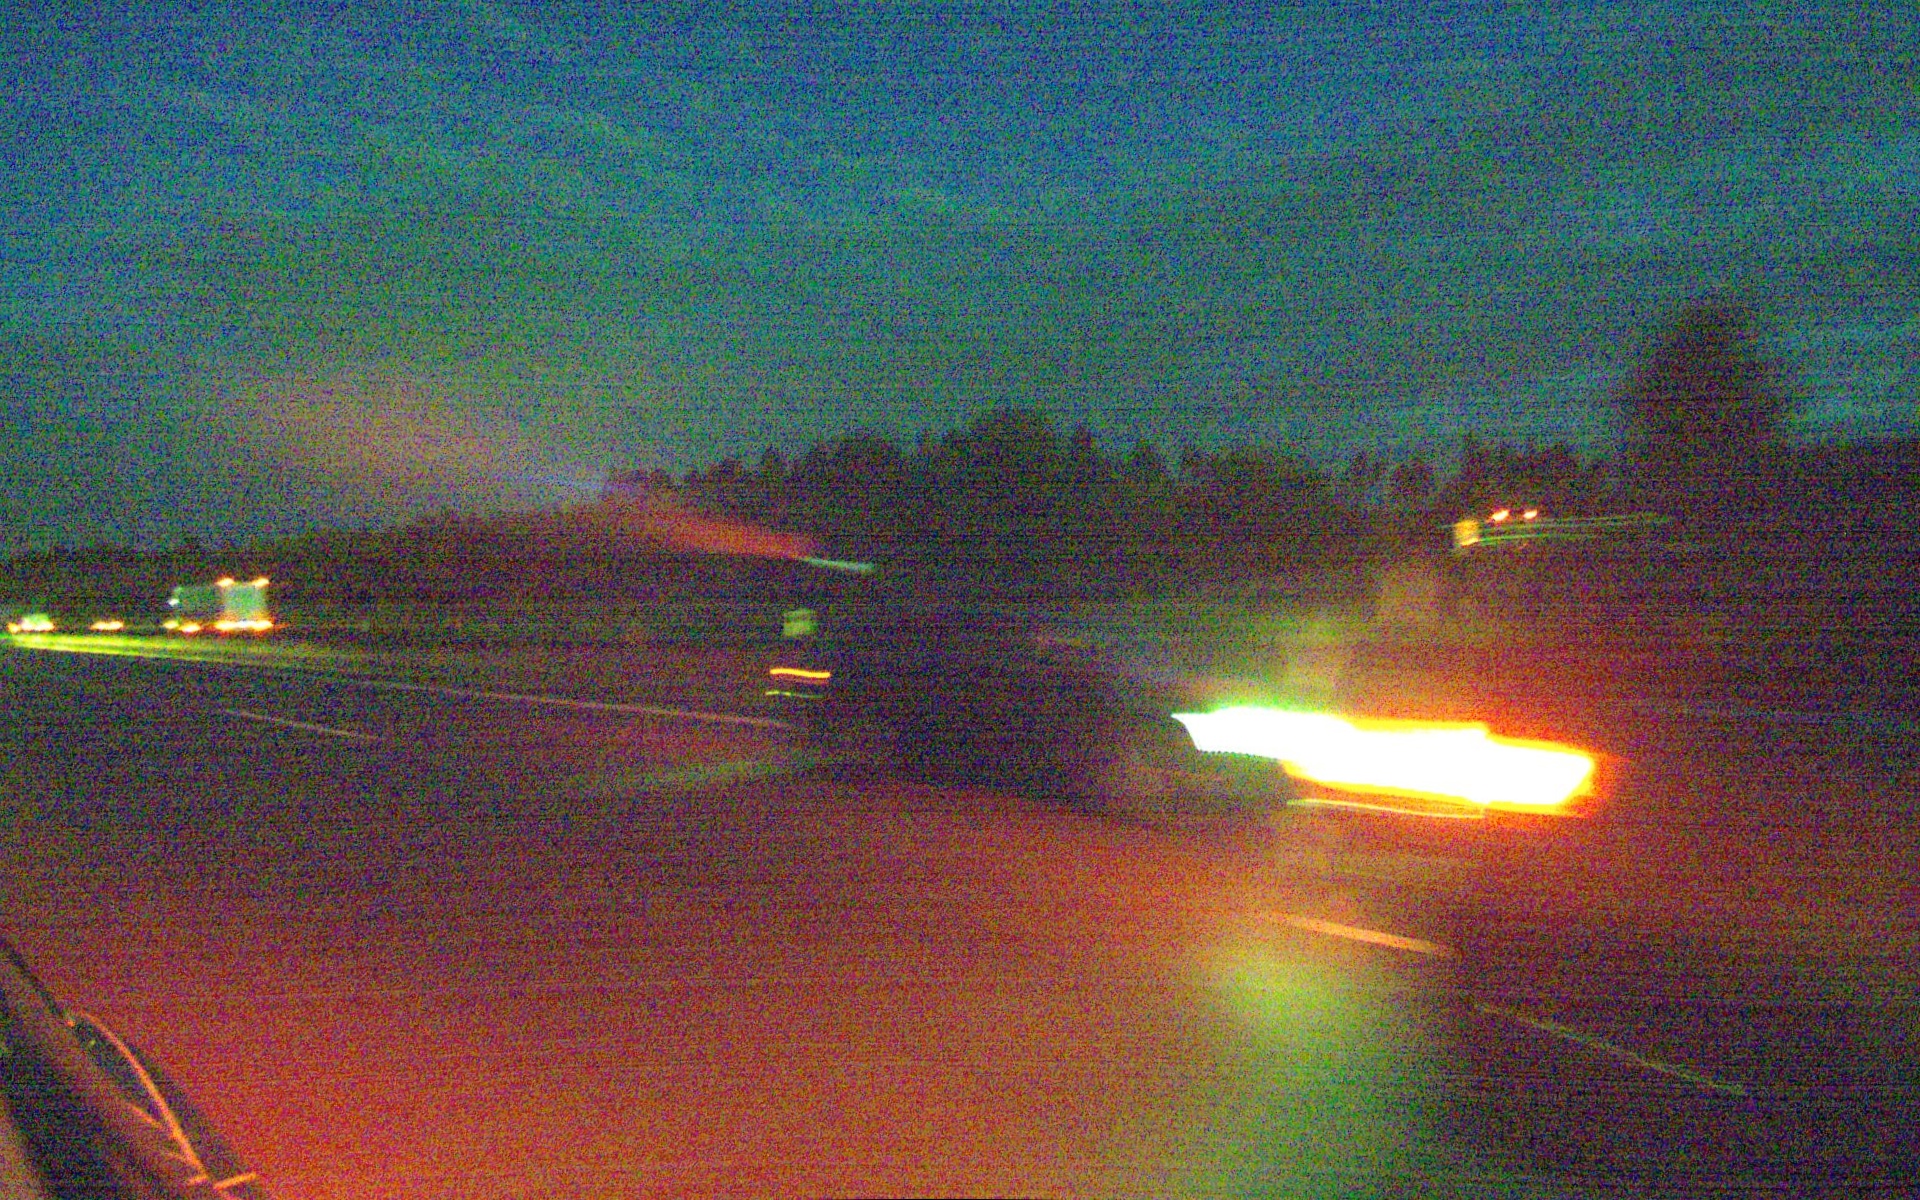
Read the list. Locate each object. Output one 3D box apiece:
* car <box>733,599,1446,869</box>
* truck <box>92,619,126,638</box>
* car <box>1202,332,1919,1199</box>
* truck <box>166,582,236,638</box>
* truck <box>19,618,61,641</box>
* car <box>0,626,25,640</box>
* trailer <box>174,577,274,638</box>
[{"bbox_3d":[0.579,0.740,7.795,5.510,1.442,1.534,-1,0,40],"label":"car"},{"bbox_3d":[-87.783,2.936,104.355,4.761,1.769,2.013,-2,0,41],"label":"truck"},{"bbox_3d":[3.394,0.447,0.915,5.939,1.734,1.973,-2,-2,41],"label":"car"},{"bbox_3d":[-63.401,0.847,84.514,6.704,4.467,3.291,-2,0,41],"label":"truck"},{"bbox_3d":[-111.673,3.591,122.830,7.881,2.661,2.843,-2,1,41],"label":"truck"},{"bbox_3d":[-142.382,4.929,152.011,4.761,1.970,2.174,-2,2,41],"label":"car"},{"bbox_3d":[-58.463,0.680,80.180,14.016,4.467,3.291,-2,0,41],"label":"trailer"}]
